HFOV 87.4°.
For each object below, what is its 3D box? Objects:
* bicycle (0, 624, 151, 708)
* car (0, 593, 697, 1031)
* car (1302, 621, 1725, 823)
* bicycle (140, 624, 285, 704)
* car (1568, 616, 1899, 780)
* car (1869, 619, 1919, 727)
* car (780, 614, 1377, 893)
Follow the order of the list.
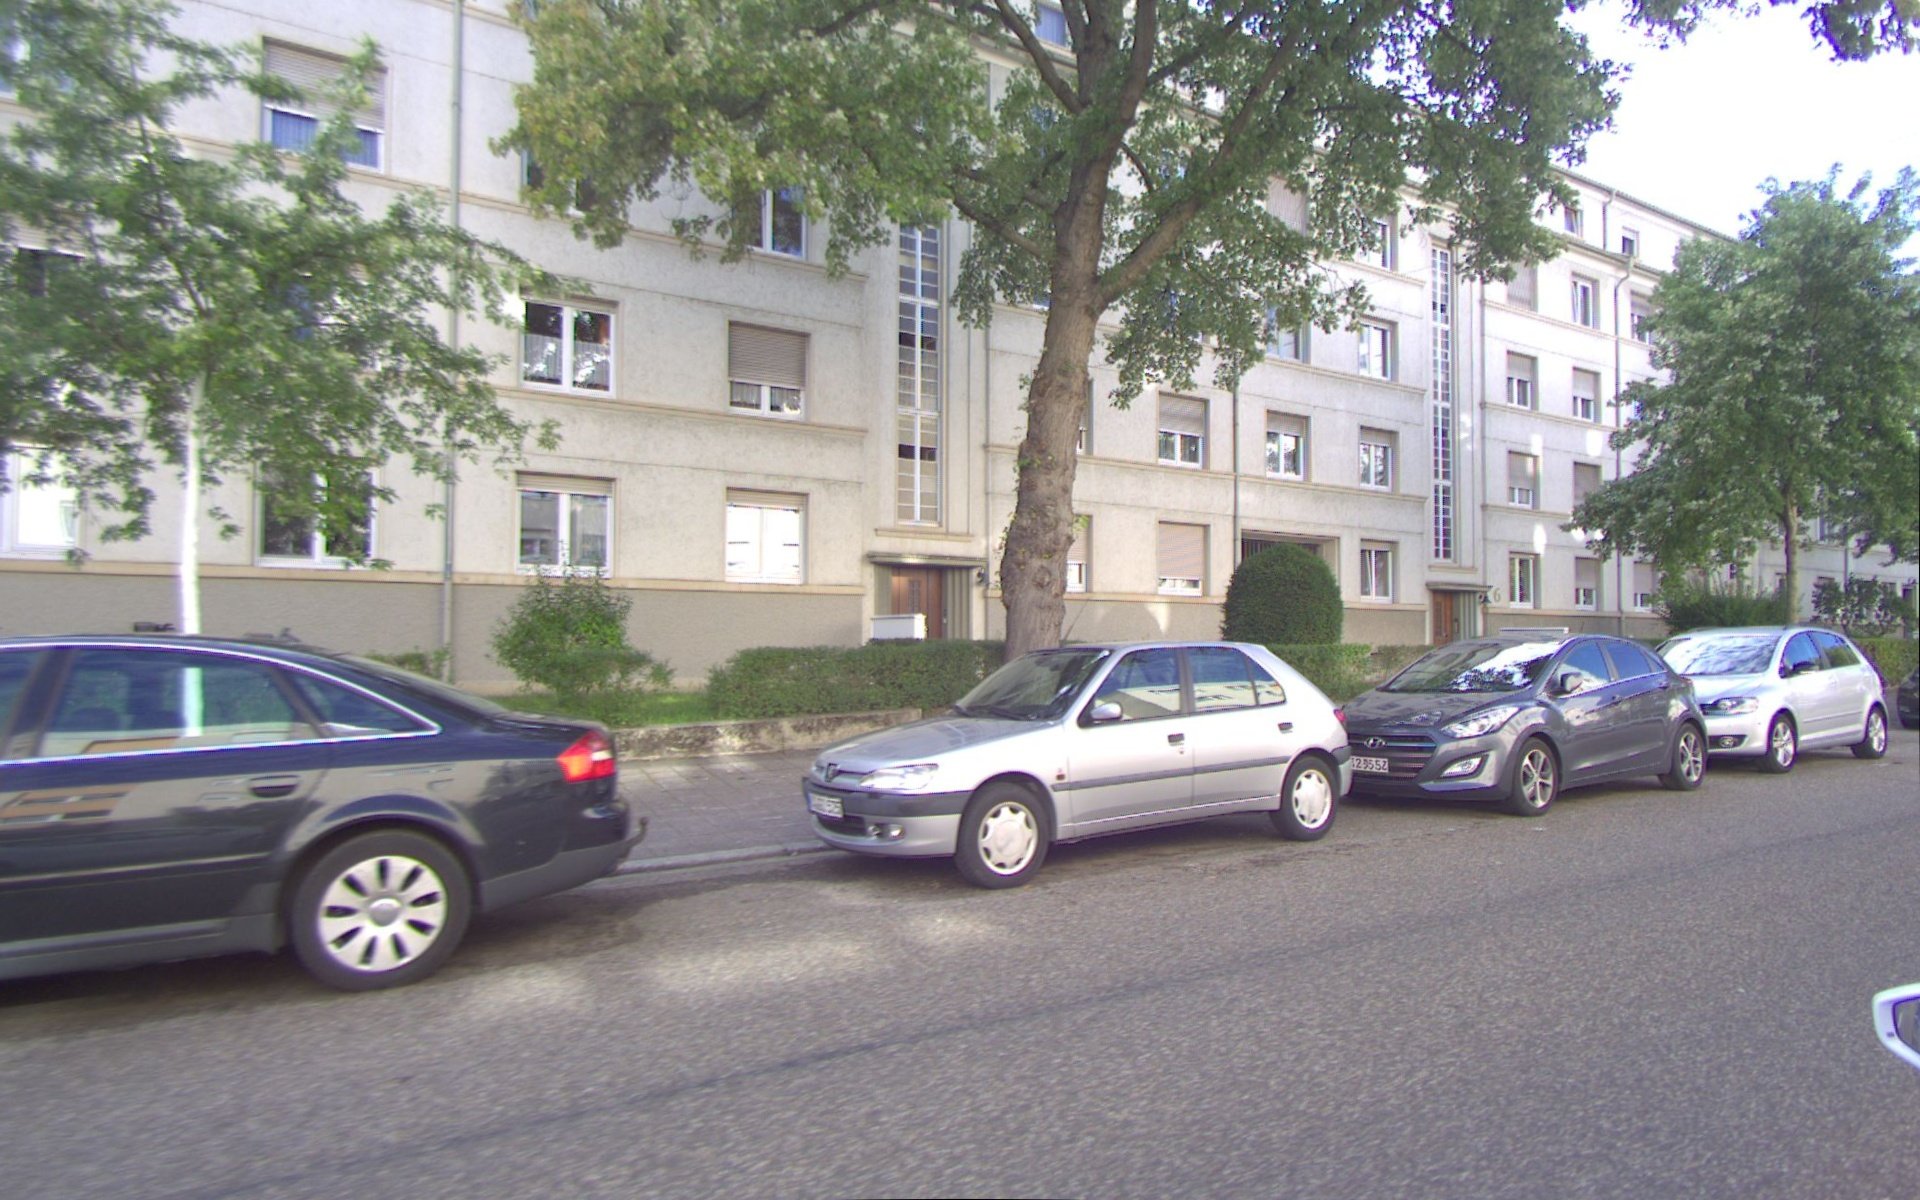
[{"bbox_3d":[-11.842,0.862,13.416,1.523,1.070,0.539,1,-1,-31],"label":"bicycle"},{"bbox_3d":[-3.513,0.802,4.308,4.393,1.499,1.680,1,-5,-27],"label":"car"},{"bbox_3d":[5.110,0.990,9.152,3.969,1.487,1.606,1,-4,-32],"label":"car"},{"bbox_3d":[-10.487,0.882,14.155,1.559,1.063,0.566,1,-1,-31],"label":"bicycle"},{"bbox_3d":[9.168,1.077,11.861,3.949,1.641,1.730,1,-4,-31],"label":"car"},{"bbox_3d":[17.184,1.163,16.599,4.427,1.689,1.792,1,-4,-29],"label":"car"},{"bbox_3d":[0.903,0.896,6.911,3.919,1.437,1.593,1,-5,-31],"label":"car"}]
